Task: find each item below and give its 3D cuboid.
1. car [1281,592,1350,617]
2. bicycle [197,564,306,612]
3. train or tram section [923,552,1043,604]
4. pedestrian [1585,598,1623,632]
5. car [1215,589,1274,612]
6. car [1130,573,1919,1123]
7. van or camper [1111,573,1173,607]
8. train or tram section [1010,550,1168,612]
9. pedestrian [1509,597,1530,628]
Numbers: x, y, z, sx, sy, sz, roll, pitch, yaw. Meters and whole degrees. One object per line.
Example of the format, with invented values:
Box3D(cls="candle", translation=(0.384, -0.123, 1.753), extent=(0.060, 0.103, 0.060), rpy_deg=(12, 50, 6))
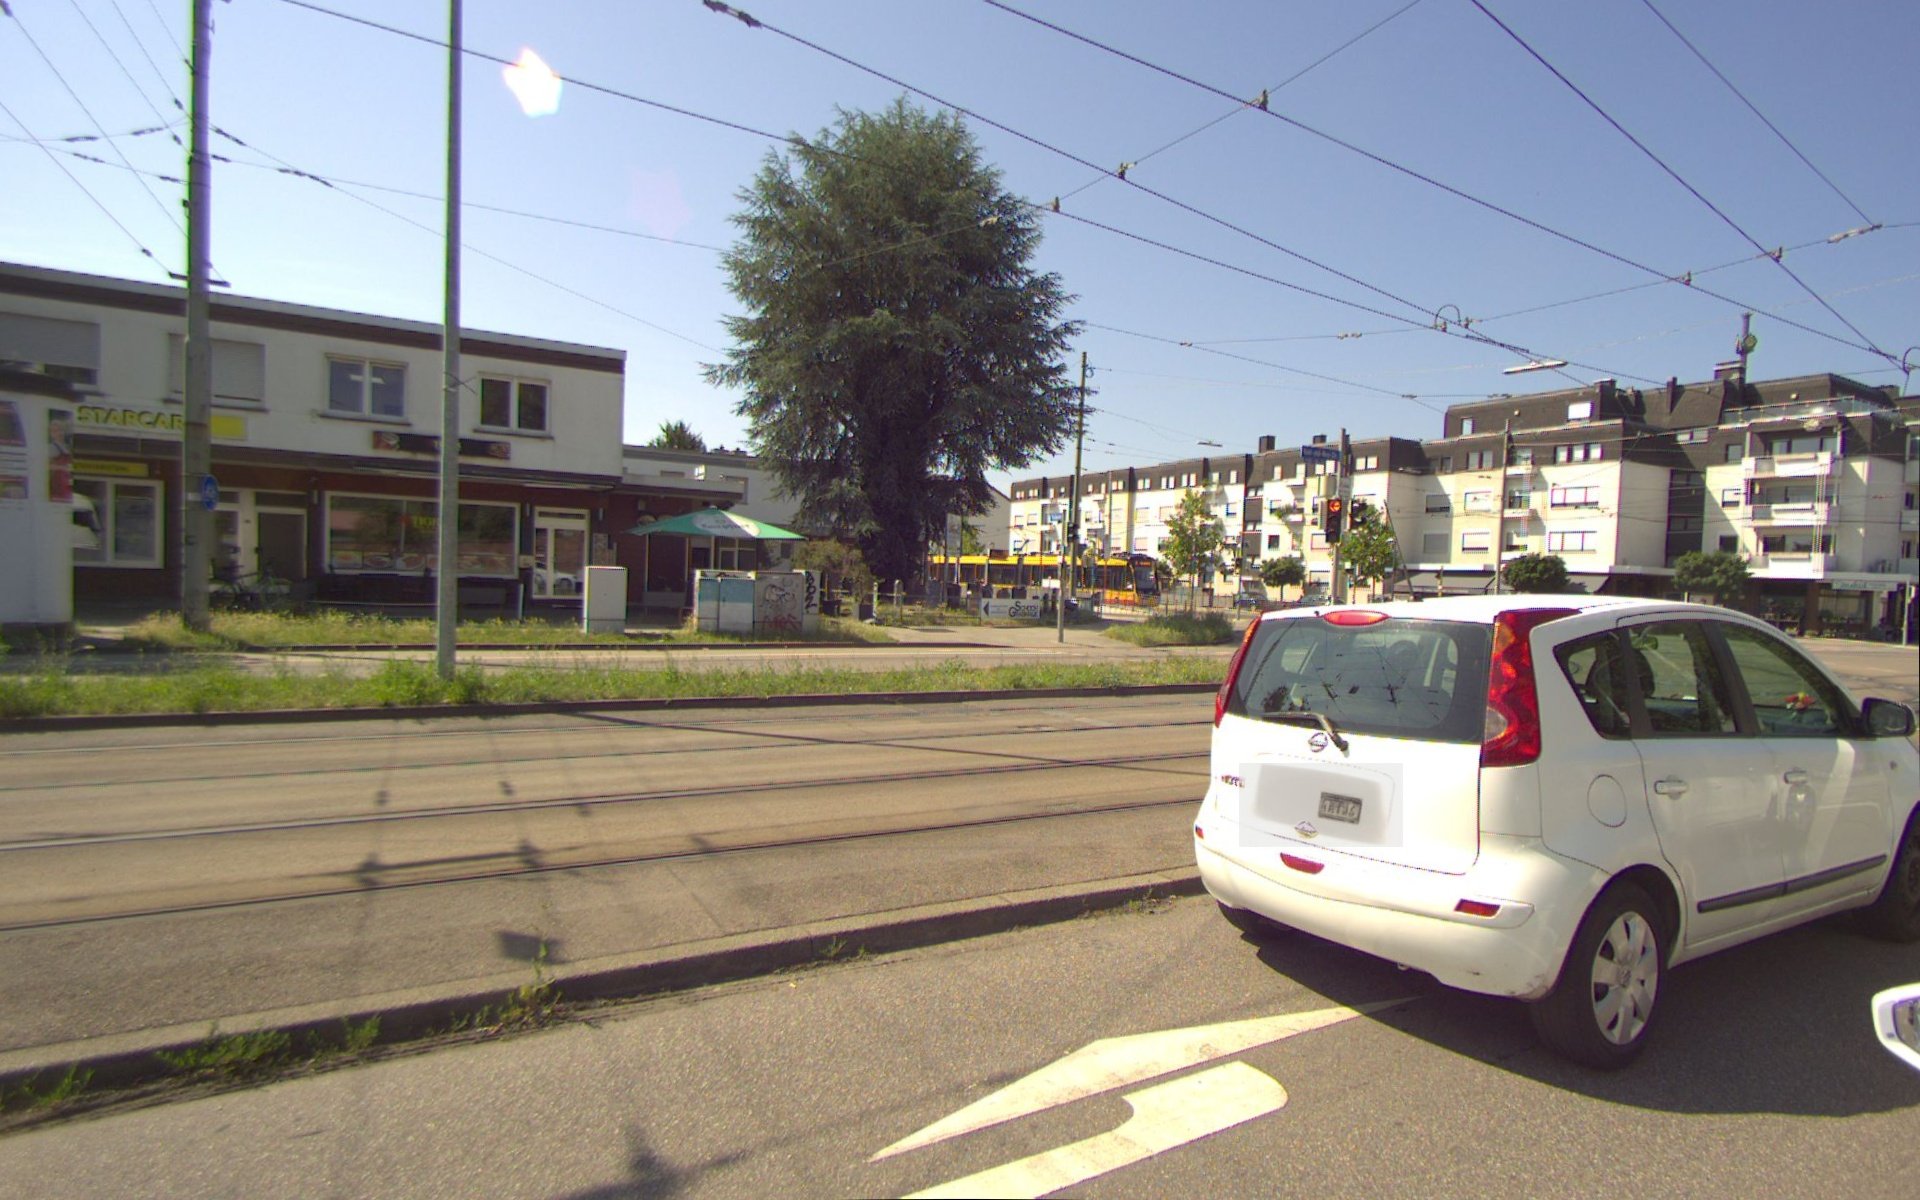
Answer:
Box3D(cls="car", translation=(23.903, 0.288, 67.631), extent=(1.807, 1.520, 4.151), rpy_deg=(1, 1, -30))
Box3D(cls="bicycle", translation=(-15.673, -0.261, 22.275), extent=(1.889, 0.996, 0.754), rpy_deg=(1, 1, -30))
Box3D(cls="train or tram section", translation=(1.481, -1.815, 79.893), extent=(2.736, 3.707, 13.795), rpy_deg=(1, 1, -30))
Box3D(cls="pedestrian", translation=(36.115, 0.833, 56.331), extent=(1.410, 1.861, 1.123), rpy_deg=(2, 1, 13))
Box3D(cls="car", translation=(20.631, 0.021, 72.954), extent=(1.807, 1.520, 3.967), rpy_deg=(1, 1, -30))
Box3D(cls="car", translation=(2.928, 0.747, 4.669), extent=(4.019, 1.582, 1.757), rpy_deg=(1, 0, -30))
Box3D(cls="van or camper", translation=(14.956, -0.870, 82.861), extent=(2.349, 2.660, 4.850), rpy_deg=(1, 1, -31))
Box3D(cls="train or tram section", translation=(8.323, -1.388, 67.920), extent=(2.736, 3.707, 13.795), rpy_deg=(1, 1, -30))
Box3D(cls="pedestrian", translation=(32.220, 0.711, 57.882), extent=(0.795, 1.783, 0.764), rpy_deg=(2, 1, 13))
